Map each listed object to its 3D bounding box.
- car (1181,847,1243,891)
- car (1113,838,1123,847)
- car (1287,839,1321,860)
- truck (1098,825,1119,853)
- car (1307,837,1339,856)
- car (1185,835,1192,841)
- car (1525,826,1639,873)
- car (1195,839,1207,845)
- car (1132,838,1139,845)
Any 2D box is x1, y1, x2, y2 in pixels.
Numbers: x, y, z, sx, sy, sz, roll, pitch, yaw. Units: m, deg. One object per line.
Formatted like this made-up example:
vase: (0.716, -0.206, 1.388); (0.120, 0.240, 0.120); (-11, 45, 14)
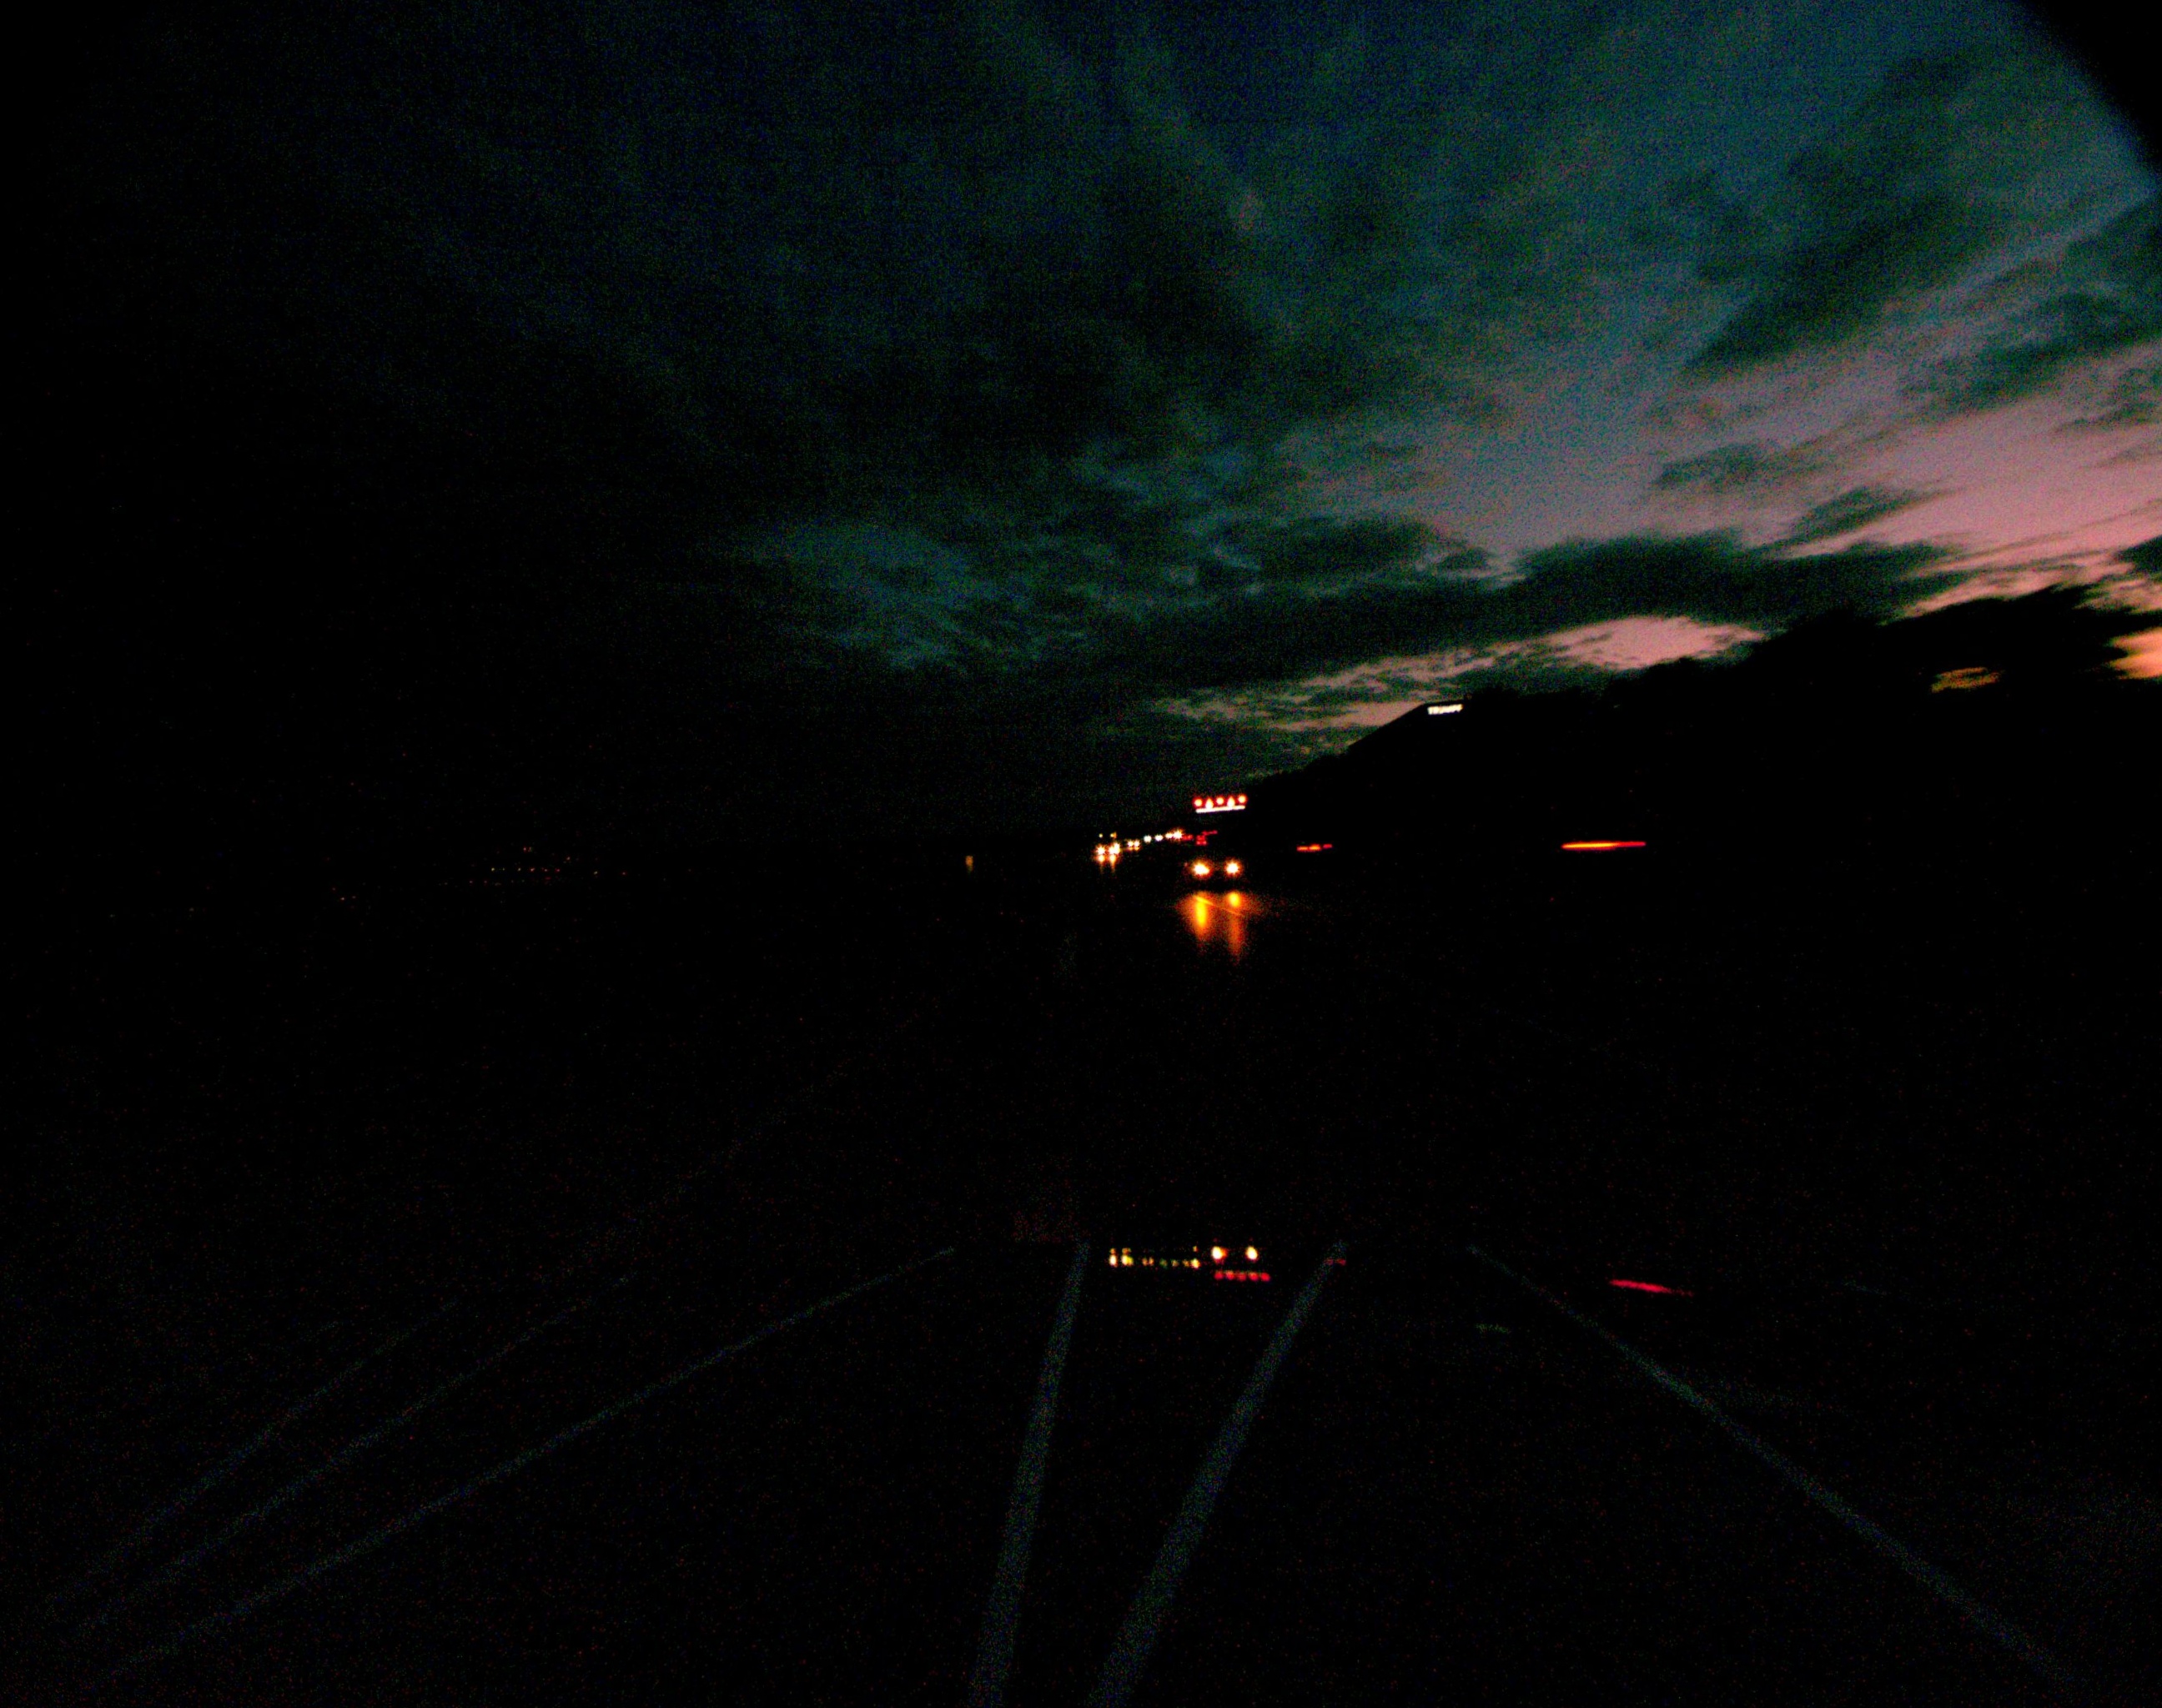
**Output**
car: (5.253, 0.548, 30.915); (1.717, 1.471, 3.998); (-3, 2, 0)
car: (9.005, -2.710, 185.820); (1.997, 2.002, 4.000); (-3, 2, 7)
car: (21.957, -0.486, 75.002); (1.880, 1.883, 5.056); (-3, 2, 1)
truck: (4.885, -2.704, 131.656); (3.026, 4.373, 11.614); (-3, 2, 4)
car: (27.128, -0.911, 85.309); (1.998, 1.883, 5.056); (-3, 2, 1)
car: (36.700, -5.391, 259.716); (1.917, 1.857, 6.014); (-3, 2, 2)
car: (22.703, -0.260, 34.708); (1.999, 1.883, 4.677); (-3, 2, -1)
car: (26.862, -2.716, 170.338); (2.064, 1.219, 5.232); (-3, 2, 2)
car: (14.047, -3.335, 195.563); (1.653, 1.655, 3.774); (-3, 2, 3)
